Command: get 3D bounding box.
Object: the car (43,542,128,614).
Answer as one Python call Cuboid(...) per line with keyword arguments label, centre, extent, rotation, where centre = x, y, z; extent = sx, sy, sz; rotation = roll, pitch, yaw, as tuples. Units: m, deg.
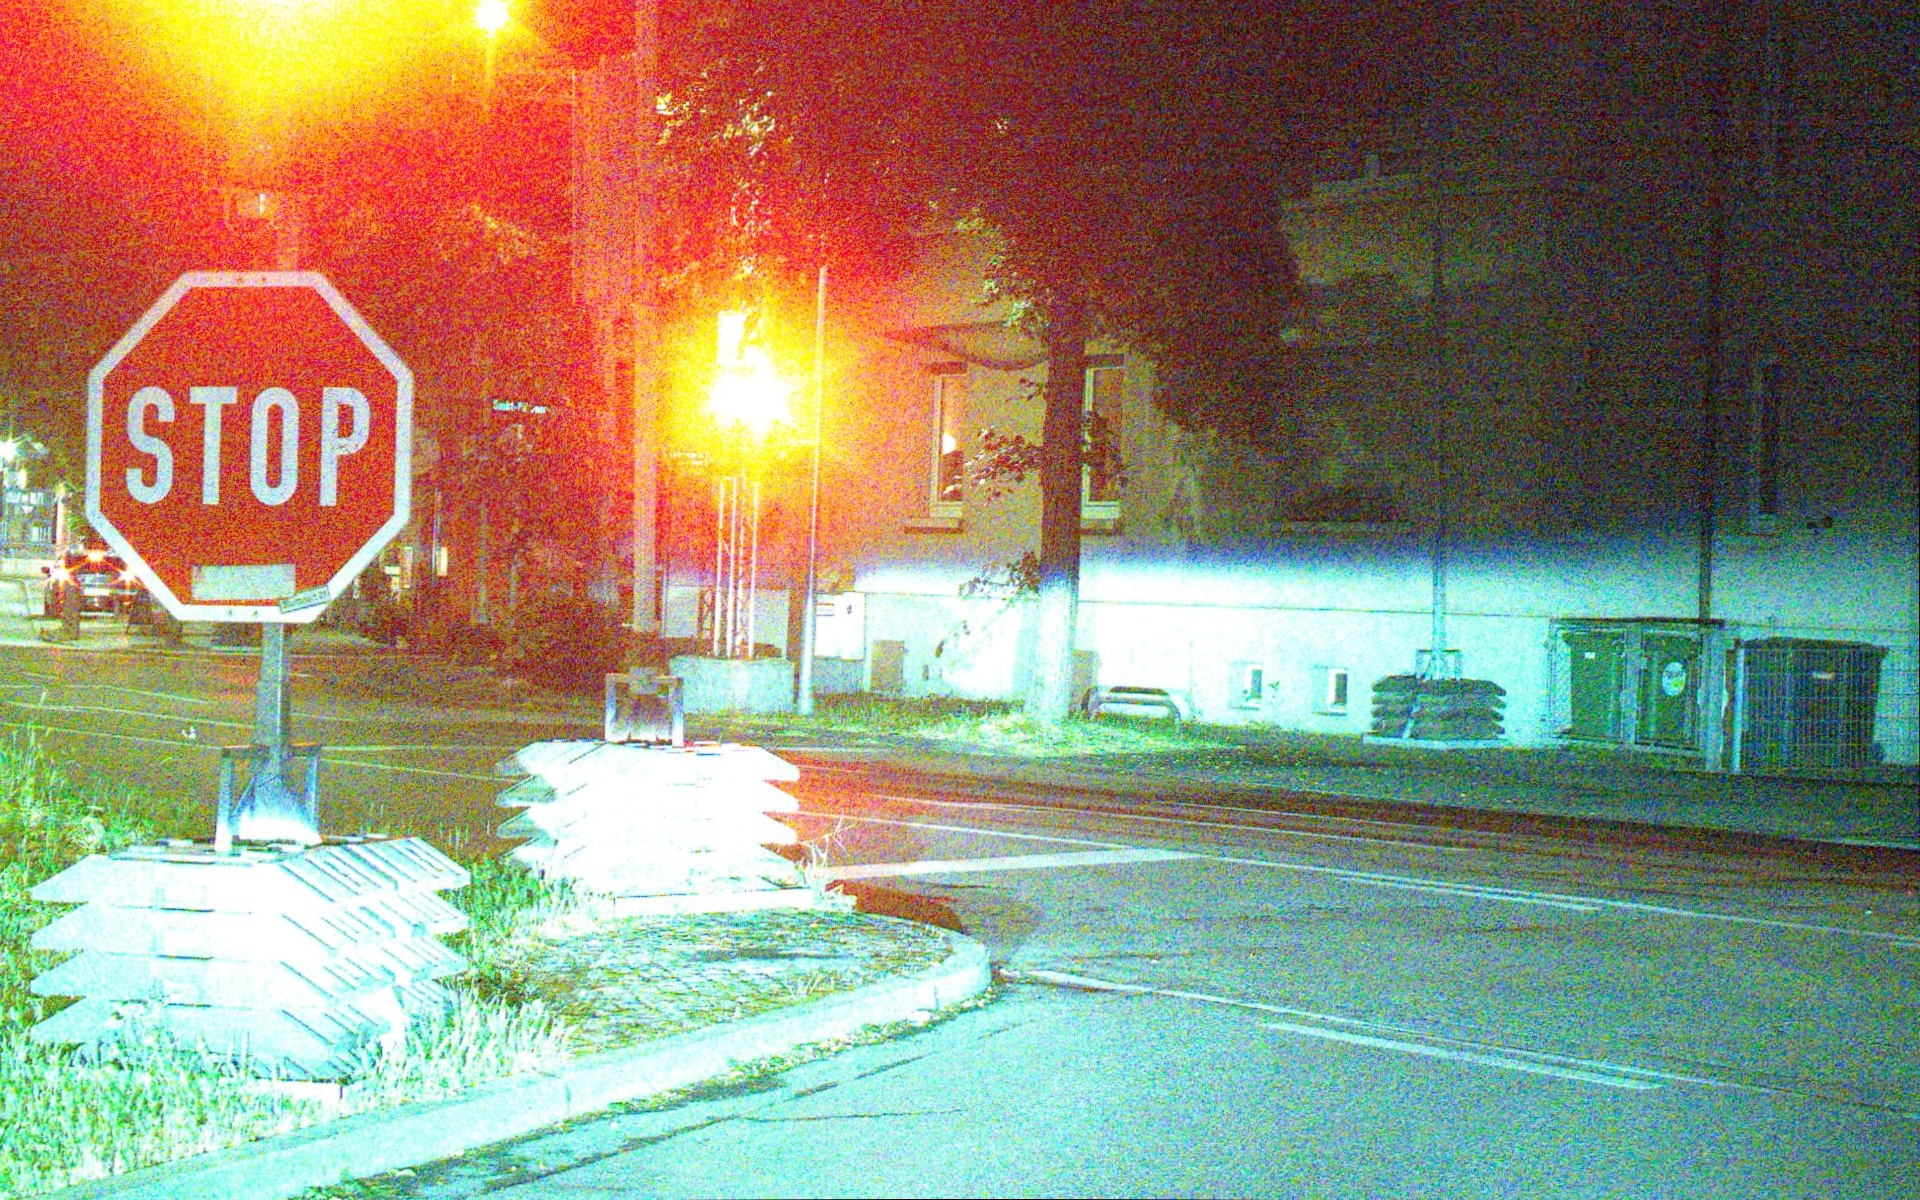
Cuboid(label="car", centre=(-18.273, -0.482, 71.893), extent=(1.651, 1.426, 4.001), rotation=(2, 1, -14))
